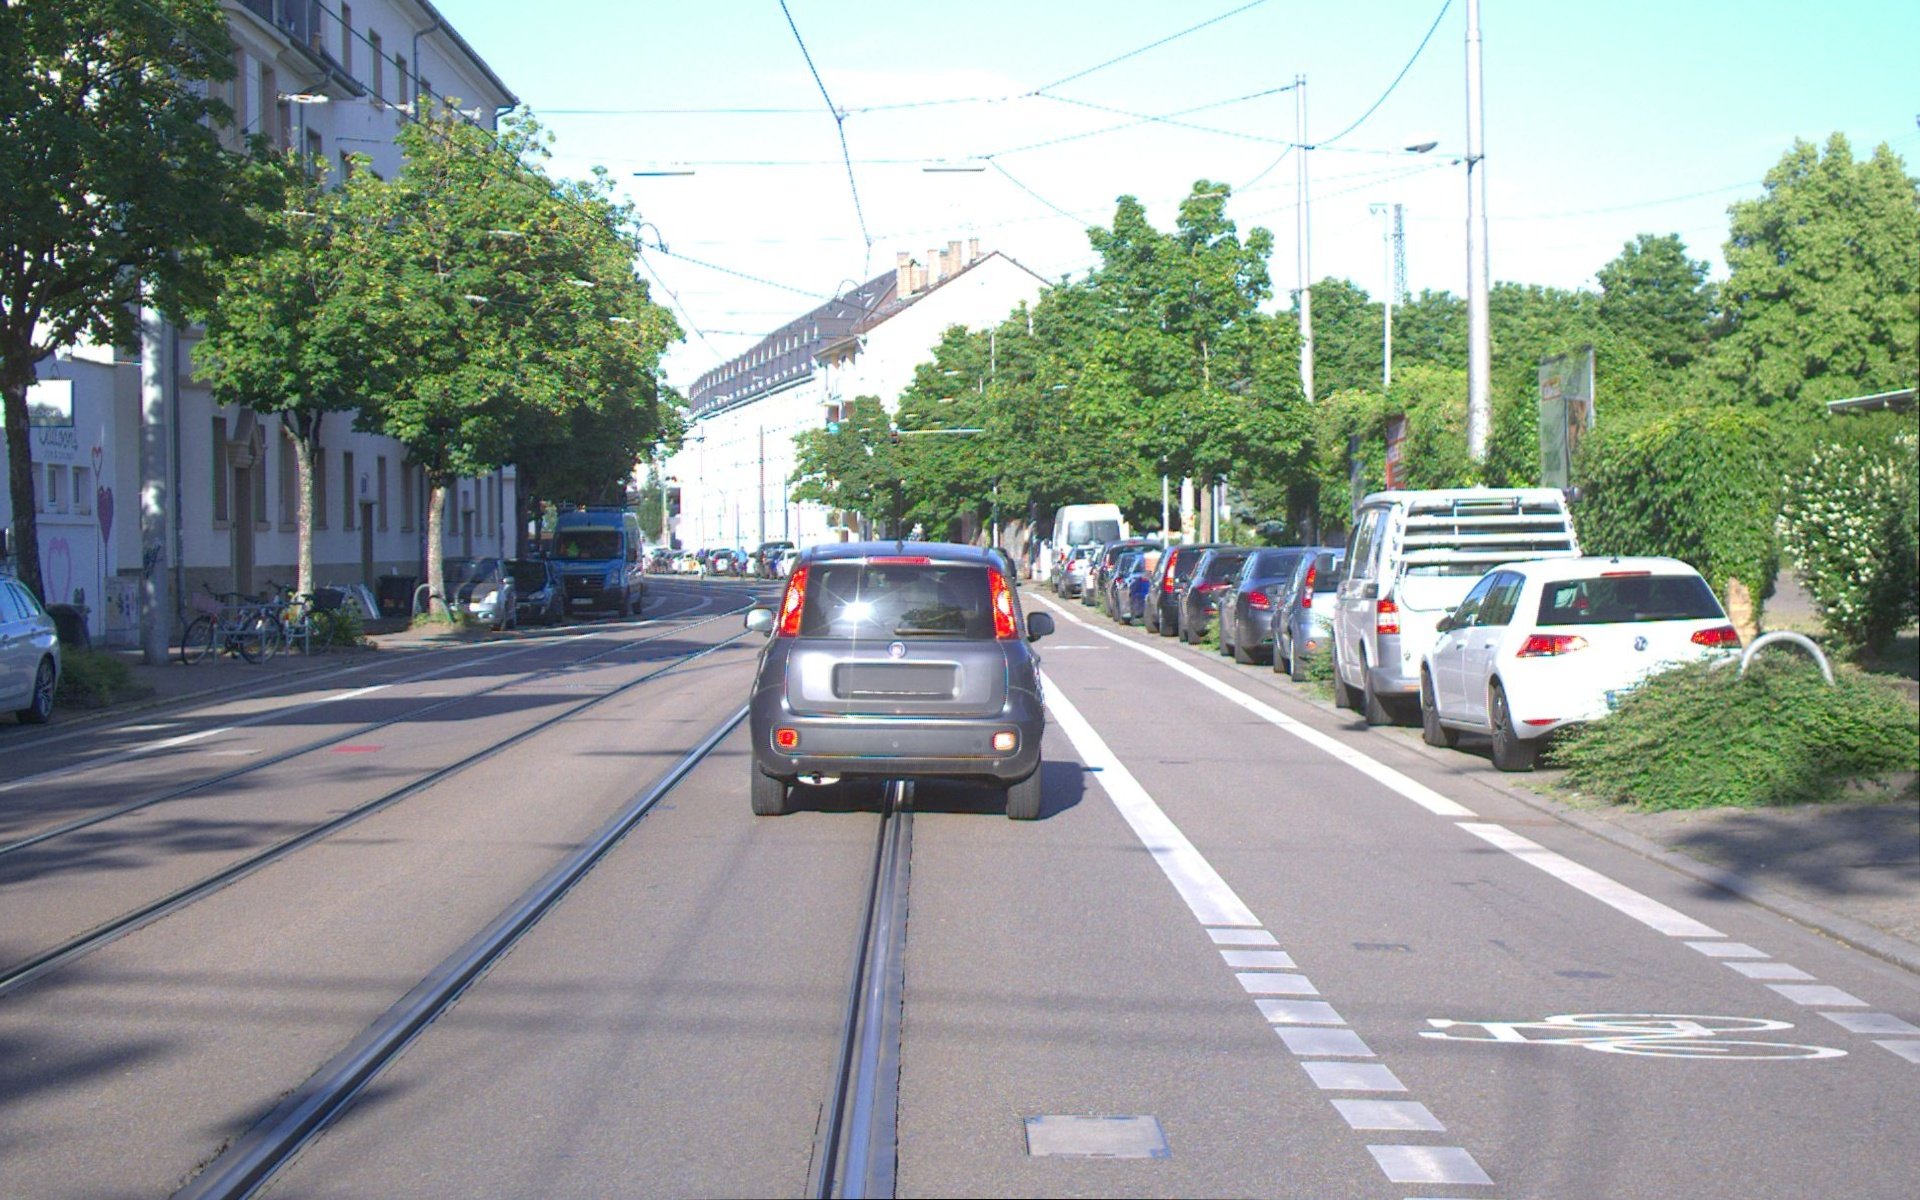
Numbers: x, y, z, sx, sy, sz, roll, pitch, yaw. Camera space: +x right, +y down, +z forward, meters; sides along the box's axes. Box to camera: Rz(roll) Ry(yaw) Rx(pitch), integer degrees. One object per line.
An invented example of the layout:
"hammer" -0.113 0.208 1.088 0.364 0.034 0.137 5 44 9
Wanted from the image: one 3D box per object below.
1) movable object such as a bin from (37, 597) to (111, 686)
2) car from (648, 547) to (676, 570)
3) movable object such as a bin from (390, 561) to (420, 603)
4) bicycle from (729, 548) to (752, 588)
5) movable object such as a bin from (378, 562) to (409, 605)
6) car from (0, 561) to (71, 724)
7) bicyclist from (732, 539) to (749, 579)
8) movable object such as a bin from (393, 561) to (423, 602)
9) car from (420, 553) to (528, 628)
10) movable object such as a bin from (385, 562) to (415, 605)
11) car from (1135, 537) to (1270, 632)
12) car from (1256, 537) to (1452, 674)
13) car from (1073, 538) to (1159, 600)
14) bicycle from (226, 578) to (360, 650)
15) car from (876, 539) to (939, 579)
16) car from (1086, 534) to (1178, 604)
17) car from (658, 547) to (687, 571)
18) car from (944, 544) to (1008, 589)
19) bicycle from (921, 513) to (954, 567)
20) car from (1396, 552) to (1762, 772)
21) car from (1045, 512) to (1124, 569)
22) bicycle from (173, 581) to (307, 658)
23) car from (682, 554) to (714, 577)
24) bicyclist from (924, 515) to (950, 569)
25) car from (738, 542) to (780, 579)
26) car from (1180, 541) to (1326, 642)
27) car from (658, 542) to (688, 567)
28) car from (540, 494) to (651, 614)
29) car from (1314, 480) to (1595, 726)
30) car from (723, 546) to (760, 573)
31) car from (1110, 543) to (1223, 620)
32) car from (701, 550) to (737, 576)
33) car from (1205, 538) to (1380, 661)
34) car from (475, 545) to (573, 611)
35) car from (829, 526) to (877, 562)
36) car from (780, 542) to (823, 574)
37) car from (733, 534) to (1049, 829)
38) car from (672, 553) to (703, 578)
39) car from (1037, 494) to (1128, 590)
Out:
"movable object such as a bin" -10.064 0.466 39.057 0.581 0.956 0.702 5 1 0
"car" -20.587 -2.862 237.407 1.582 1.593 3.377 0 1 -11
"movable object such as a bin" -12.543 -0.405 77.762 0.596 0.931 0.569 -1 1 -3
"bicycle" -11.099 -1.619 173.712 0.741 2.007 2.812 0 1 -11
"movable object such as a bin" -12.512 -0.374 75.966 0.596 0.931 0.569 -1 1 -3
"car" -9.682 0.380 31.597 1.864 1.485 4.662 1 1 -1
"bicyclist" -11.102 -2.081 173.766 0.715 2.007 0.832 0 0 -11
"movable object such as a bin" -12.581 -0.424 78.332 0.596 0.931 0.569 -1 1 -3
"car" -9.965 -0.212 70.670 1.651 1.486 4.000 1 1 0
"movable object such as a bin" -12.470 -0.371 76.561 0.596 0.931 0.569 -1 1 -3
"car" 4.088 -0.279 58.545 1.824 1.487 3.815 -3 1 -2
"car" 4.457 0.040 39.387 1.873 1.467 4.075 1 1 2
"car" 3.912 -0.795 86.626 1.727 1.507 4.252 0 1 -3
"bicycle" -9.854 0.197 50.840 0.532 1.036 1.982 1 1 44
"car" -2.121 -1.644 138.149 1.688 1.525 4.001 -2 1 -13
"car" 4.072 -0.740 81.839 1.727 1.599 4.343 0 1 -3
"car" -19.370 -2.785 231.743 1.582 1.593 3.377 0 1 -11
"car" 0.542 -1.188 121.636 1.688 1.525 4.001 -2 1 -7
"bicycle" -0.747 -1.954 112.615 0.675 1.741 2.158 0 1 -11
"car" 4.451 0.389 25.371 1.675 1.413 4.503 -2 1 -2
"car" 3.462 -1.655 96.095 1.910 1.524 4.601 -1 1 -1
"bicycle" -9.882 0.256 47.229 0.668 1.036 1.783 1 1 37
"car" -16.234 -2.149 212.633 1.582 1.400 3.377 0 1 -11
"bicyclist" -0.758 -1.903 112.566 0.699 1.753 0.758 0 0 -11
"car" -10.897 -2.153 186.283 1.655 1.937 4.666 0 1 -11
"car" 4.420 -0.149 52.464 1.824 1.447 4.642 -1 1 0
"car" -18.866 -2.987 226.184 1.582 1.593 3.377 0 1 -11
"car" -8.938 -1.129 84.813 2.017 2.816 6.032 1 1 1
"car" 4.323 -0.009 30.781 1.854 1.984 5.242 -1 1 1
"car" -12.201 -2.252 192.014 1.655 1.495 3.130 0 1 -11
"car" 4.029 -0.380 67.590 1.727 1.459 4.342 0 1 -3
"car" -14.083 -2.142 200.972 1.582 1.400 3.377 -4 2 -11
"car" 4.213 -0.029 44.194 1.824 1.479 4.601 1 1 0
"car" -9.737 -0.501 76.986 1.651 1.420 4.190 1 1 0
"car" -4.777 -2.470 153.097 1.635 1.503 3.398 -3 1 -10
"car" -7.915 -2.071 171.377 1.655 1.566 3.500 0 1 -11
"car" -0.391 0.401 20.348 1.650 1.536 4.235 1 1 -1
"car" -17.379 -2.193 219.183 1.582 1.593 3.377 0 1 -11
"car" 3.617 -1.714 102.590 2.180 2.656 6.092 -3 1 -2
